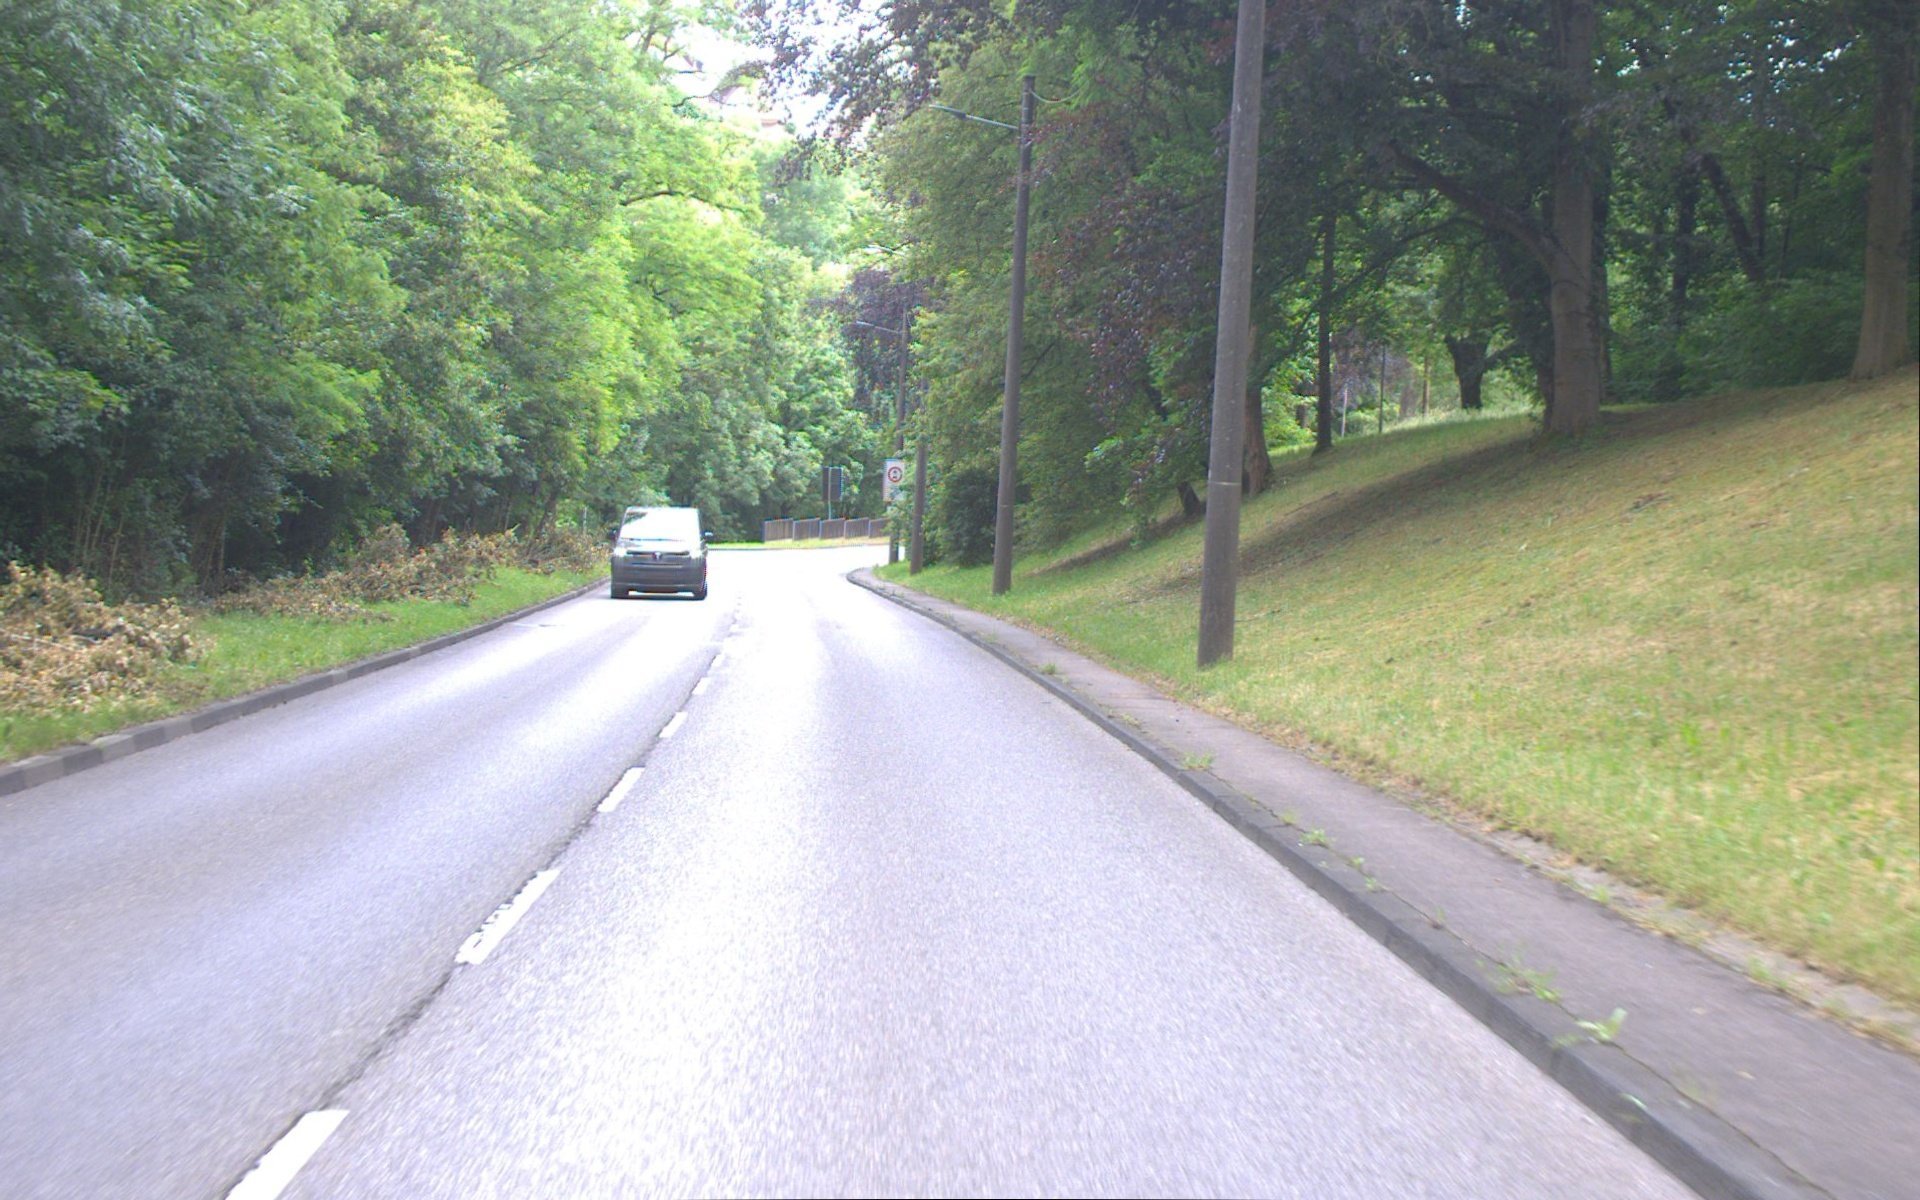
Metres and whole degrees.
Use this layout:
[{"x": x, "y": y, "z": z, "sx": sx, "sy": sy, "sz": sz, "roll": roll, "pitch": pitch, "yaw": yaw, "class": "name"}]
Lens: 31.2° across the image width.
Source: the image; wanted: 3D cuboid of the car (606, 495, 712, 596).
[{"x": -6.159, "y": -1.119, "z": 70.789, "sx": 1.993, "sy": 1.941, "sz": 4.946, "roll": 2, "pitch": 1, "yaw": -4, "class": "car"}]
